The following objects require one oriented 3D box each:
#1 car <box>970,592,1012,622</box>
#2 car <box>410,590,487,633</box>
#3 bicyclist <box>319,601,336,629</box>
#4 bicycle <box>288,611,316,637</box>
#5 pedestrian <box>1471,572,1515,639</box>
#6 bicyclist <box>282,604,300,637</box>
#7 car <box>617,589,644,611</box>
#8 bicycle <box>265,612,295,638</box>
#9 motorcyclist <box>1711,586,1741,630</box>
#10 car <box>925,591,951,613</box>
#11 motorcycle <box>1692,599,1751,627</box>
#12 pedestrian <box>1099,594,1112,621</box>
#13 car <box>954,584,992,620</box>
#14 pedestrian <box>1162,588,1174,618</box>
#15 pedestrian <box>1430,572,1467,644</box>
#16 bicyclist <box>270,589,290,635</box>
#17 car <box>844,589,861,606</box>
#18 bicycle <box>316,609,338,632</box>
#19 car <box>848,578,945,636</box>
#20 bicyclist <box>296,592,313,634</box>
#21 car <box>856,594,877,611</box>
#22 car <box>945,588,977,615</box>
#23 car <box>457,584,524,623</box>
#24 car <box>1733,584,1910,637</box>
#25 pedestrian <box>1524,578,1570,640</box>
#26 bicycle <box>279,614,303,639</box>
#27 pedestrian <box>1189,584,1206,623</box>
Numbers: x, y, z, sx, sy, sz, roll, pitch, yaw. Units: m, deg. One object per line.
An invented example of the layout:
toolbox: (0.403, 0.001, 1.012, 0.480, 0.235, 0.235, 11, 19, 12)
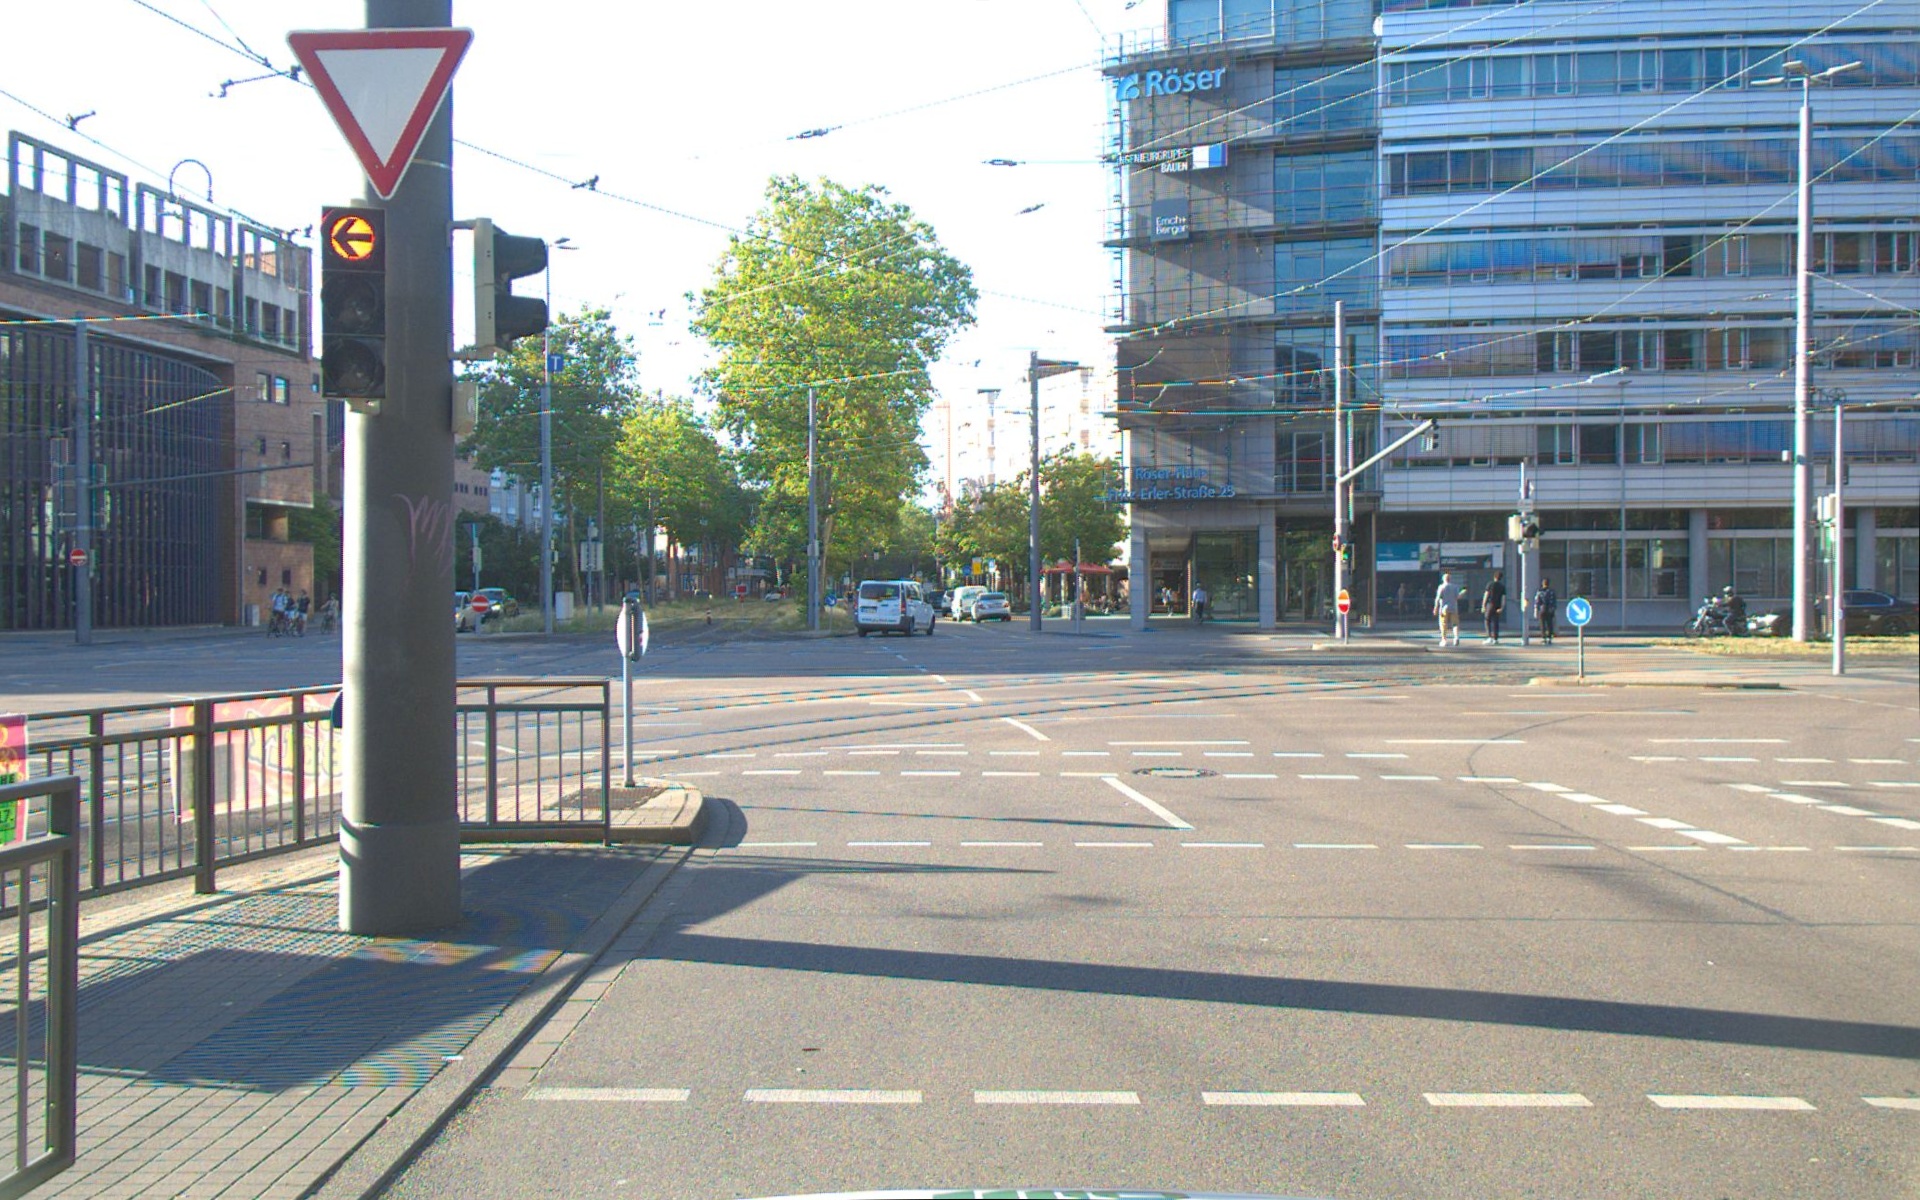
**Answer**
car: (1.533, 0.335, 82.787, 1.953, 1.400, 3.999, -1, 0, -1)
car: (-20.670, 0.442, 67.034, 1.953, 1.668, 3.999, -1, 0, -2)
bicyclist: (-27.120, 0.641, 70.942, 0.495, 1.199, 0.581, -1, 0, -1)
bicycle: (-25.976, 0.949, 65.320, 0.463, 0.980, 1.575, -1, 0, -1)
pedestrian: (13.937, 0.147, 43.279, 0.893, 1.714, 1.036, -1, 0, 6)
bicyclist: (-27.618, 0.851, 68.238, 0.495, 1.327, 0.581, -1, 0, -1)
car: (-31.622, 0.008, 158.696, 1.954, 2.049, 3.997, -1, 0, -3)
bicycle: (-26.795, 0.987, 65.215, 0.531, 0.980, 1.586, -1, 0, -1)
motorcyclist: (23.078, 0.236, 49.824, 0.697, 1.298, 0.460, -1, 0, 3)
car: (-1.683, 0.130, 126.633, 1.953, 1.646, 3.999, -1, 0, -1)
motorcycle: (22.926, 0.398, 49.825, 1.535, 0.824, 0.467, -1, 0, 3)
pedestrian: (9.261, 0.473, 105.171, 0.729, 1.744, 0.612, -1, 0, -1)
car: (0.684, 0.115, 89.573, 1.953, 1.892, 3.999, -1, 0, -1)
pedestrian: (10.891, 0.142, 86.451, 0.599, 1.534, 0.579, -1, 0, 7)
pedestrian: (12.650, 0.204, 42.872, 0.845, 1.820, 0.872, -1, 0, 13)
bicyclist: (-26.791, 0.470, 65.162, 0.525, 1.761, 0.581, -1, 0, -1)
car: (-13.229, -0.333, 203.589, 1.953, 2.049, 3.999, -1, 0, -1)
bicycle: (-27.136, 0.866, 70.944, 0.442, 0.980, 1.347, -1, 0, -1)
car: (-2.118, 0.216, 57.228, 1.919, 1.881, 5.334, -1, 0, 14)
bicyclist: (-25.910, 0.522, 65.398, 0.449, 1.631, 0.581, -1, 0, -1)
car: (-8.285, 0.210, 147.063, 1.762, 1.467, 3.998, 1, 0, -3)
car: (0.033, 0.069, 105.209, 1.953, 1.646, 3.999, -1, 0, -1)
car: (-21.124, 0.142, 74.593, 1.953, 1.668, 3.999, -1, 0, -2)
car: (24.395, 0.291, 46.949, 4.070, 1.423, 1.786, -1, 0, 4)
pedestrian: (15.116, 0.228, 42.594, 0.928, 1.591, 0.897, -1, 0, 6)
bicycle: (-27.616, 1.079, 68.245, 0.458, 0.980, 1.320, -1, 0, -1)
pedestrian: (9.537, 0.144, 66.429, 0.599, 1.534, 0.579, -1, 0, 5)
